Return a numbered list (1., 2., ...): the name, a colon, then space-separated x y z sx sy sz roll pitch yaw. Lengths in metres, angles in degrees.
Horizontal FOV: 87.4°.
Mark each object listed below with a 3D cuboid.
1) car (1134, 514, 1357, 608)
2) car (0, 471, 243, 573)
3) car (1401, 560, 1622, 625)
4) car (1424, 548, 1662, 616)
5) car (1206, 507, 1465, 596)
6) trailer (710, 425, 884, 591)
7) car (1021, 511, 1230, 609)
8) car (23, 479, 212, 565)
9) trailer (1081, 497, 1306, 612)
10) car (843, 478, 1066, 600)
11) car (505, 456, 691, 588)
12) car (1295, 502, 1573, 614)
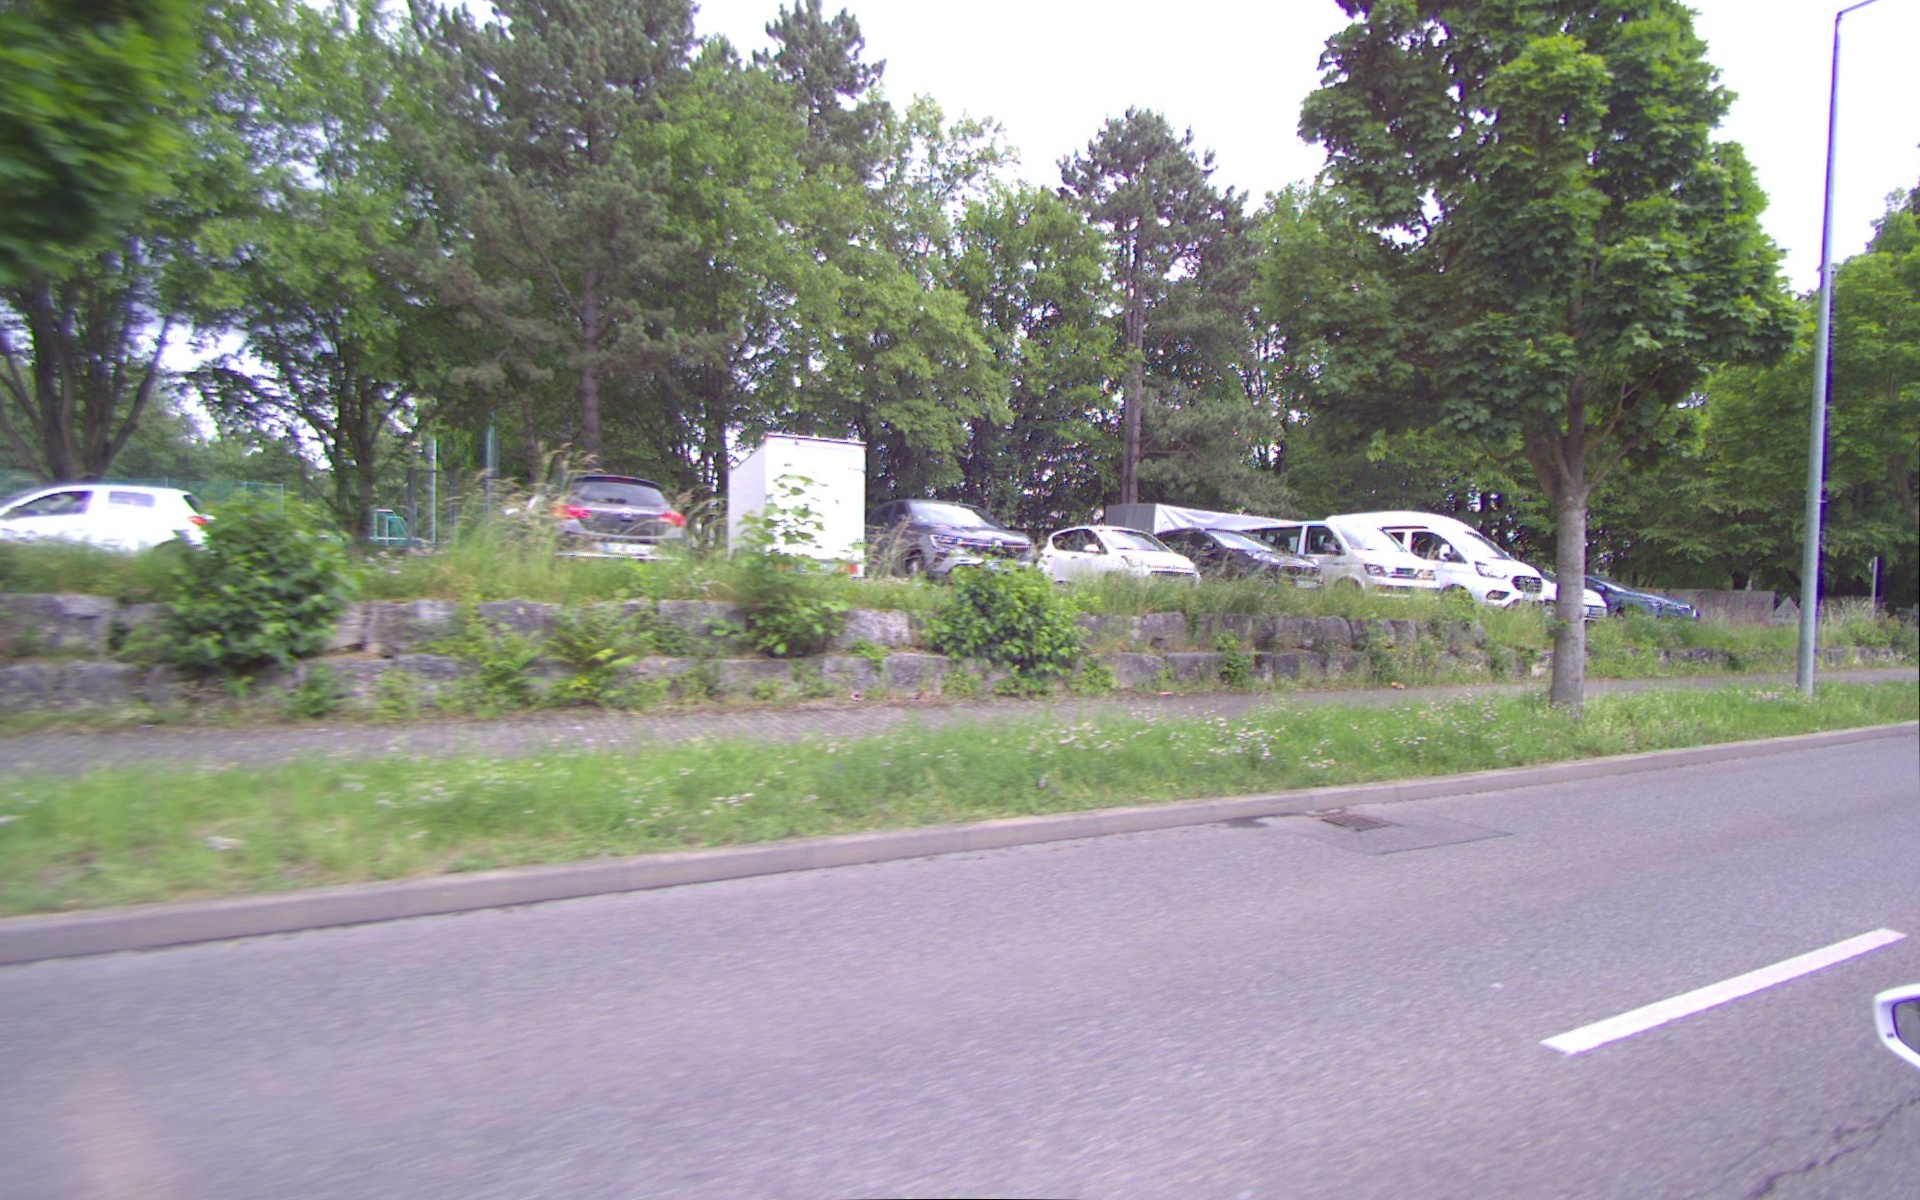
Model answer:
1. car: 5.376 -0.742 19.449 1.973 1.569 4.021 1 2 -25
2. car: -14.223 -1.242 16.216 3.995 1.436 1.986 1 2 -27
3. car: 12.737 -0.231 23.514 1.544 1.334 4.356 1 2 -30
4. car: 15.099 -0.530 26.386 1.863 1.582 5.131 1 2 -30
5. car: 7.563 -0.972 20.846 2.069 1.569 4.977 1 2 -25
6. trailer: -2.504 -1.223 14.802 1.655 2.086 3.355 1 1 -25
7. car: 2.860 -0.716 18.268 1.757 1.532 4.021 1 2 -25
8. car: -16.484 -1.463 19.904 1.876 1.436 4.086 1 2 -26
9. trailer: 7.686 -1.392 32.767 7.111 3.115 2.635 3 1 -30
10. car: -0.243 -0.904 15.807 1.973 1.605 4.021 1 2 -25
11. car: -5.014 -0.958 13.559 1.973 1.436 4.021 1 2 -25
12. car: 10.144 -0.898 21.998 2.188 2.135 5.131 1 2 -30
